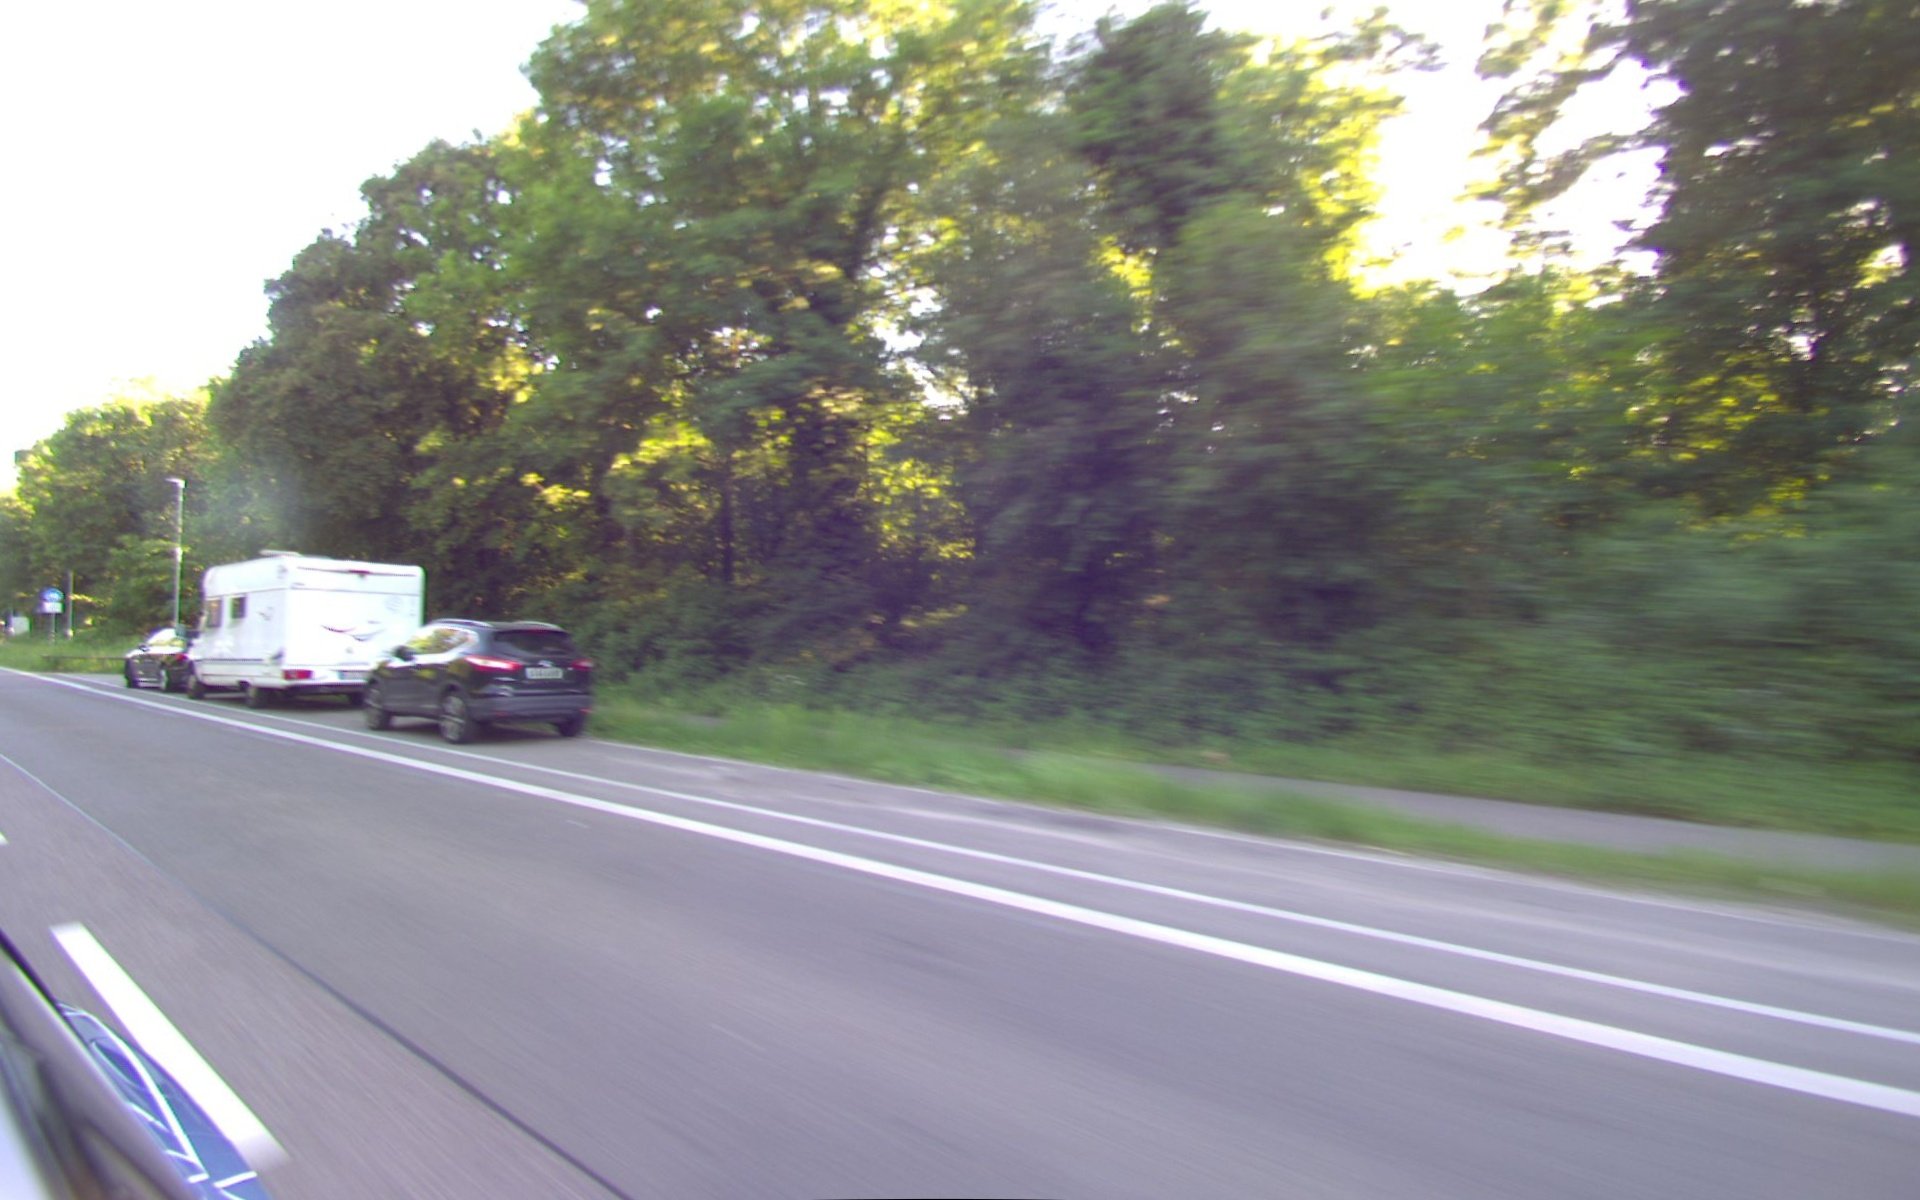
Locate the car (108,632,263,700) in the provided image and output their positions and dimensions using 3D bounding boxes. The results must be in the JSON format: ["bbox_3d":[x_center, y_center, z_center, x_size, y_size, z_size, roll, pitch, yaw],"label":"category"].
[{"bbox_3d":[-18.657,1.529,24.304,4.674,1.487,1.809,-2,-4,38],"label":"car"}]

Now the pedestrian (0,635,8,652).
[{"bbox_3d":[-93.324,4.264,98.718,0.667,1.666,0.790,2,-3,-45],"label":"pedestrian"}]

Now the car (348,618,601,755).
[{"bbox_3d":[-6.944,1.140,14.280,4.271,1.644,1.628,-2,-4,41],"label":"car"}]

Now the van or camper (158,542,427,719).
[{"bbox_3d":[-13.459,0.652,20.158,7.102,2.993,2.292,-2,-4,39],"label":"van or camper"}]
